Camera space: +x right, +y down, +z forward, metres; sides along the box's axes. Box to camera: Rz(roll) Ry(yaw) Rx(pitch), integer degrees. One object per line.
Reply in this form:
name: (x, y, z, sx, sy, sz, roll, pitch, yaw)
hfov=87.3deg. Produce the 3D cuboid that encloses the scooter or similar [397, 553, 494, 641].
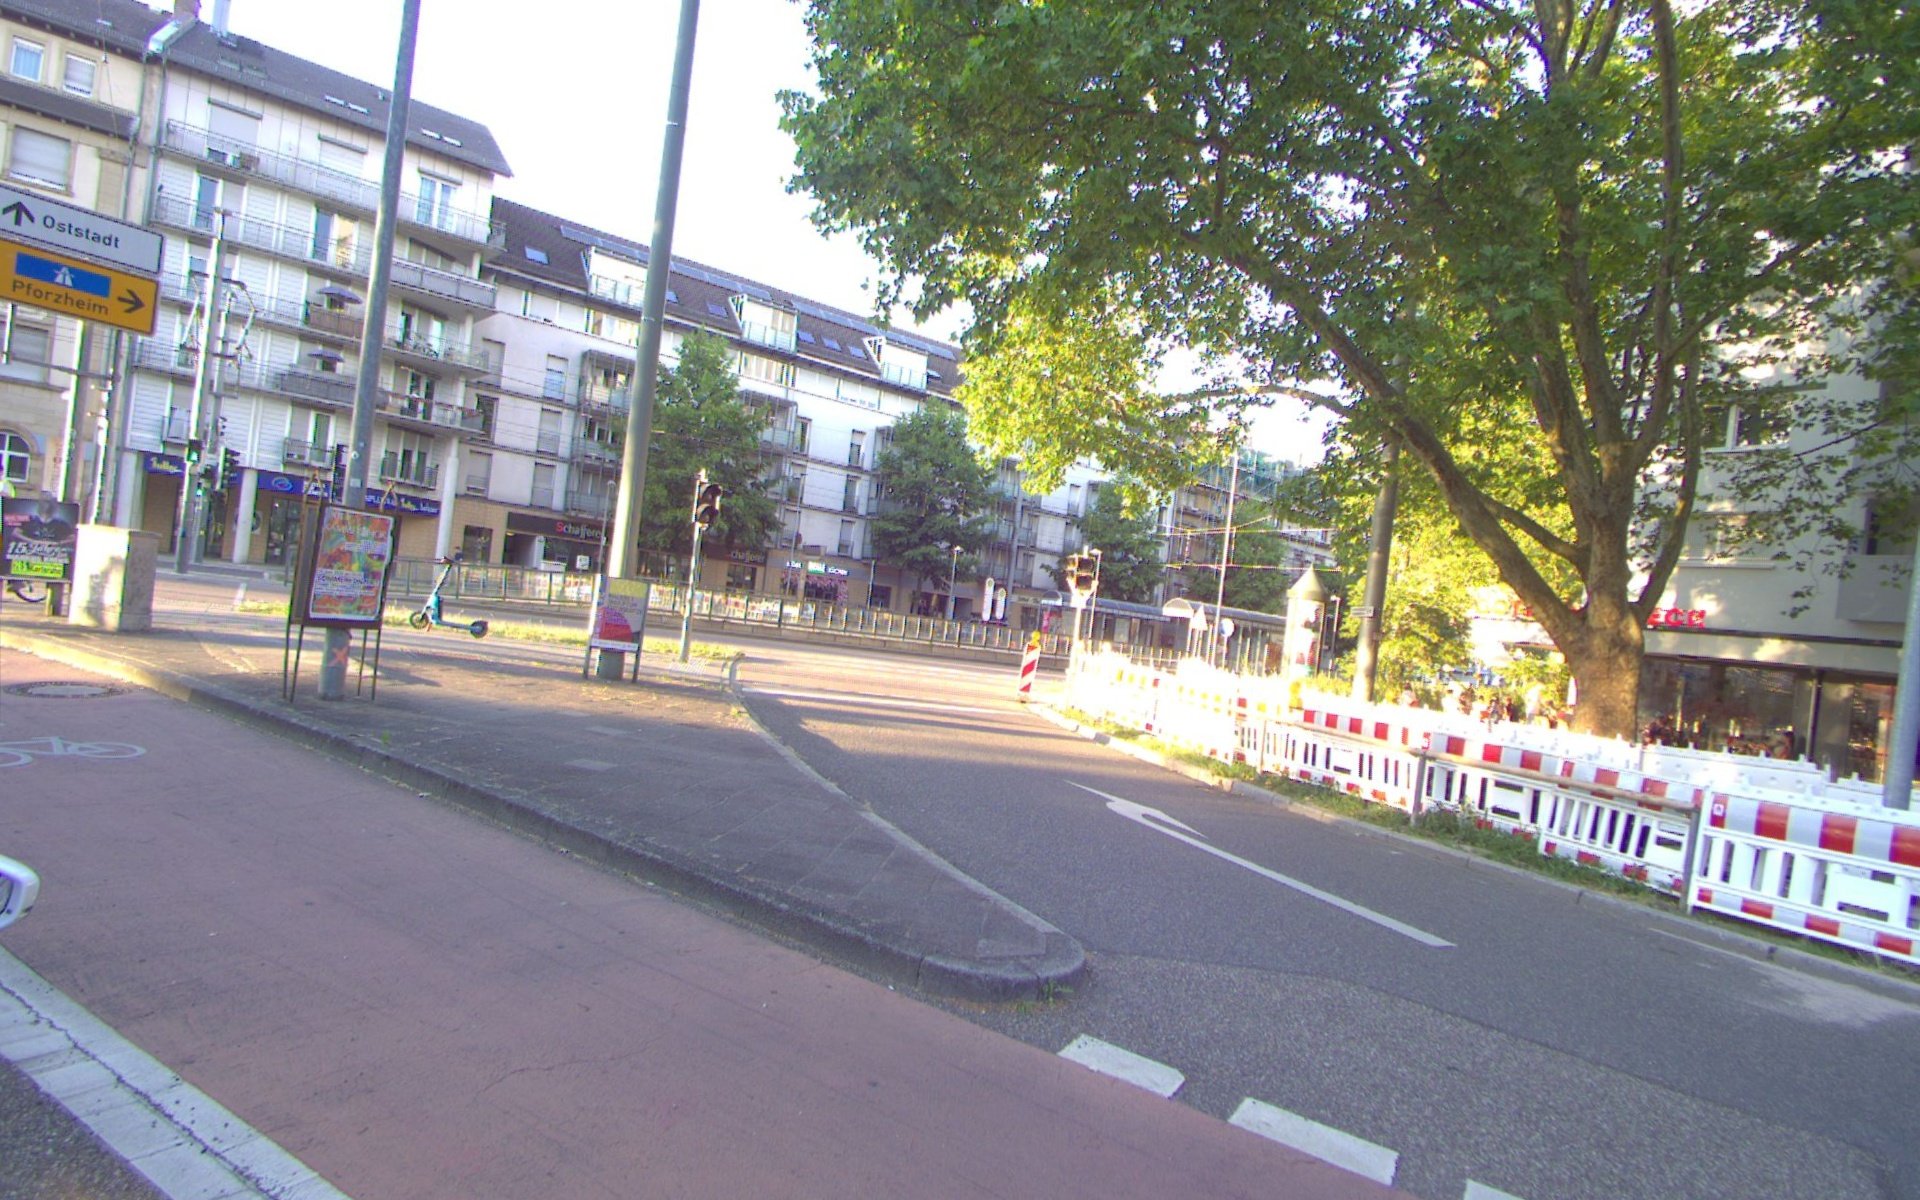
scooter or similar: (-8.422, -0.040, 16.510, 1.217, 1.264, 0.513, 7, -1, -19)

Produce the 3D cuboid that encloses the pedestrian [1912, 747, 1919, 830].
pedestrian: (15.691, 2.901, 15.842, 0.733, 1.607, 0.641, 6, -1, 25)

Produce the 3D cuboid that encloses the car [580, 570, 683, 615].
car: (-14.957, -0.322, 45.854, 3.970, 1.503, 1.830, 9, -3, -39)

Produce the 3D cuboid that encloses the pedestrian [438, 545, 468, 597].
pedestrian: (-23.038, -1.334, 45.708, 0.864, 2.234, 0.812, 8, -1, -39)

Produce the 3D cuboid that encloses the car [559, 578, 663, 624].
car: (-15.658, 0.047, 45.180, 3.964, 1.503, 1.833, 9, -2, -34)

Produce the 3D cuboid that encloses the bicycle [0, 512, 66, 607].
bicycle: (-12.021, -0.549, 12.075, 0.617, 1.122, 2.073, 7, -2, 0)

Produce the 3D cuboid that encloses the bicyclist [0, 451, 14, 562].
bicyclist: (-11.976, -0.923, 11.937, 0.617, 1.845, 0.699, 7, -1, -1)
